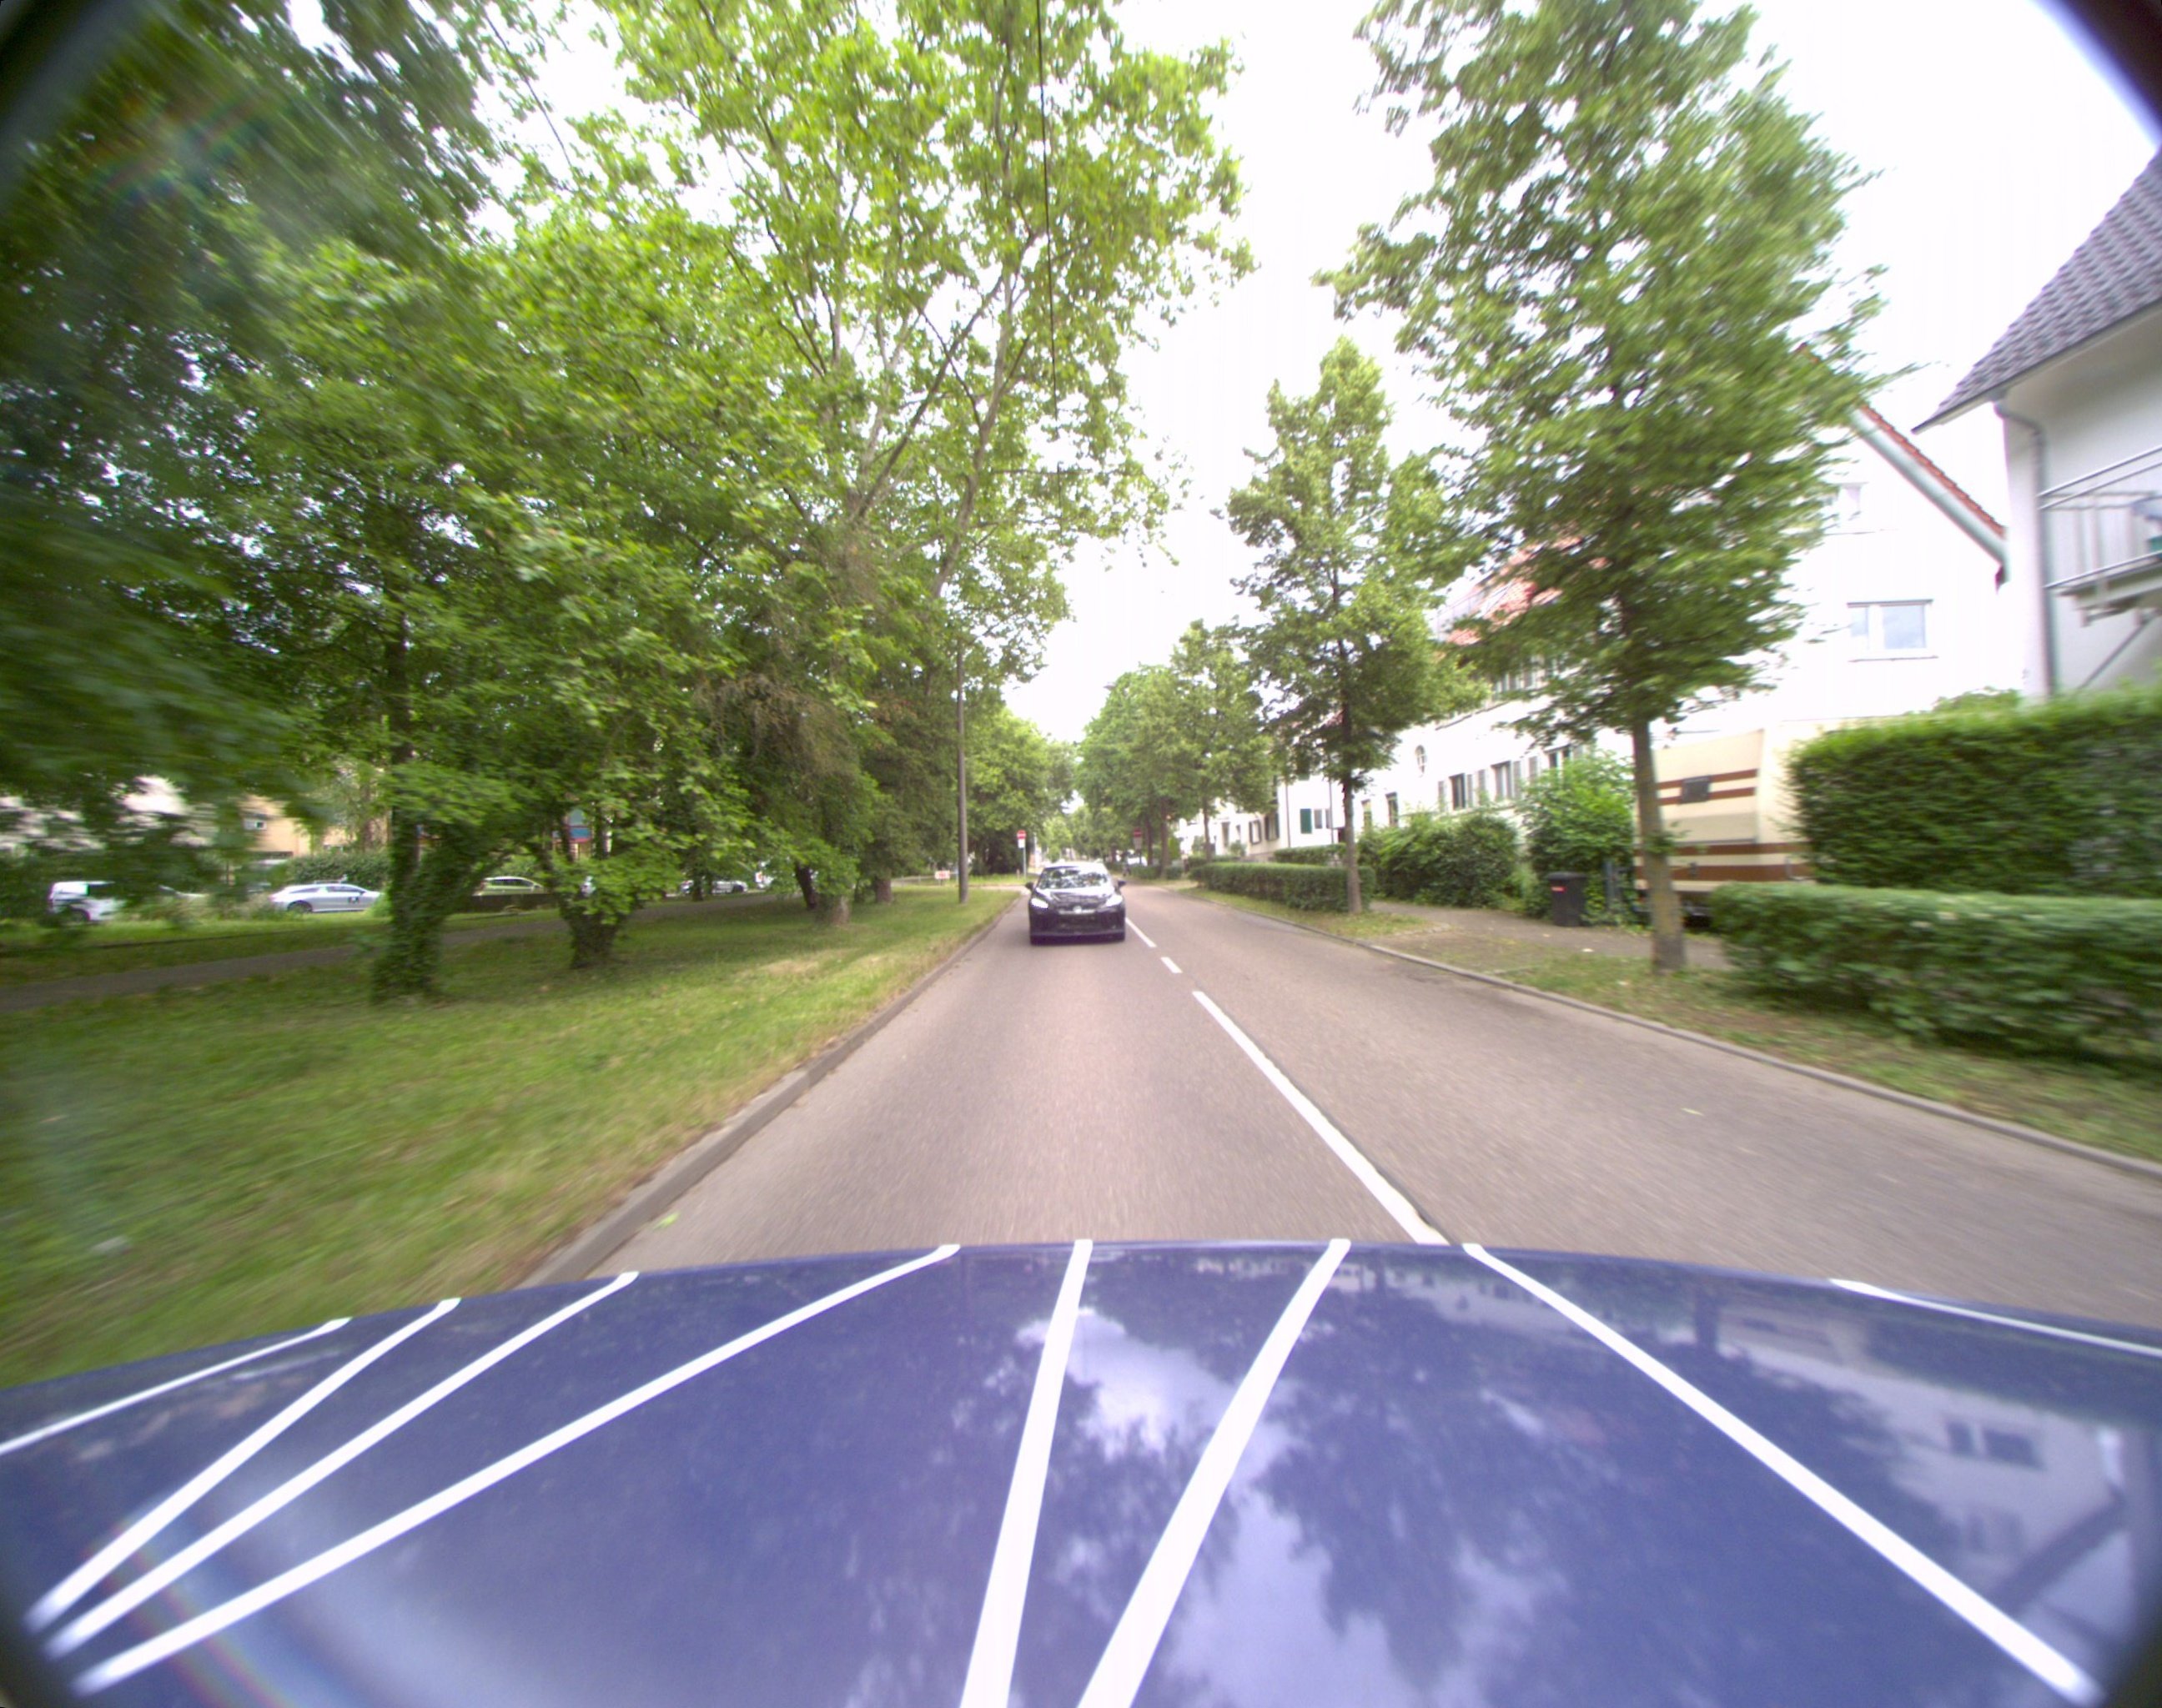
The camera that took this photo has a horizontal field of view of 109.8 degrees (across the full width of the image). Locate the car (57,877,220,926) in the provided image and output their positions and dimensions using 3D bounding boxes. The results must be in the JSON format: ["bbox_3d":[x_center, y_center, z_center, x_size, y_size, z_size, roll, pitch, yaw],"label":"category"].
[{"bbox_3d":[-37.783,1.866,30.635,1.795,1.664,4.008,-3,-1,42],"label":"car"}]

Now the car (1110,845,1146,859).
[{"bbox_3d":[8.528,-0.346,137.355,6.378,2.334,1.973,-2,0,-25],"label":"car"}]

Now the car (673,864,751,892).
[{"bbox_3d":[-22.743,1.471,46.893,4.008,1.501,1.795,-2,-1,-40],"label":"car"}]

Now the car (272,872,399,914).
[{"bbox_3d":[-33.913,1.723,34.646,1.795,1.664,4.008,-3,-1,42],"label":"car"}]

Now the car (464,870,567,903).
[{"bbox_3d":[-29.704,1.682,40.003,1.795,1.501,4.008,-3,-1,41],"label":"car"}]

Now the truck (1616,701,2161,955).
[{"bbox_3d":[11.753,-0.359,11.269,5.811,3.112,2.517,-2,0,-2],"label":"truck"}]

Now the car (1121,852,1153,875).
[{"bbox_3d":[4.447,0.746,61.402,1.830,1.743,4.451,-3,0,-5],"label":"car"}]

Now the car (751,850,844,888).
[{"bbox_3d":[-18.719,0.964,50.304,5.335,2.285,2.287,-2,-1,-34],"label":"car"}]

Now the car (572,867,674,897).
[{"bbox_3d":[-26.151,1.580,43.491,1.795,1.501,4.613,-3,-1,44],"label":"car"}]

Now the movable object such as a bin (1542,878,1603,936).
[{"bbox_3d":[8.244,0.871,12.769,0.581,0.921,0.693,-1,0,2],"label":"movable object such as a bin"}]

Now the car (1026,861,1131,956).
[{"bbox_3d":[-0.081,0.995,15.788,1.799,1.552,4.471,-3,0,-1],"label":"car"}]
